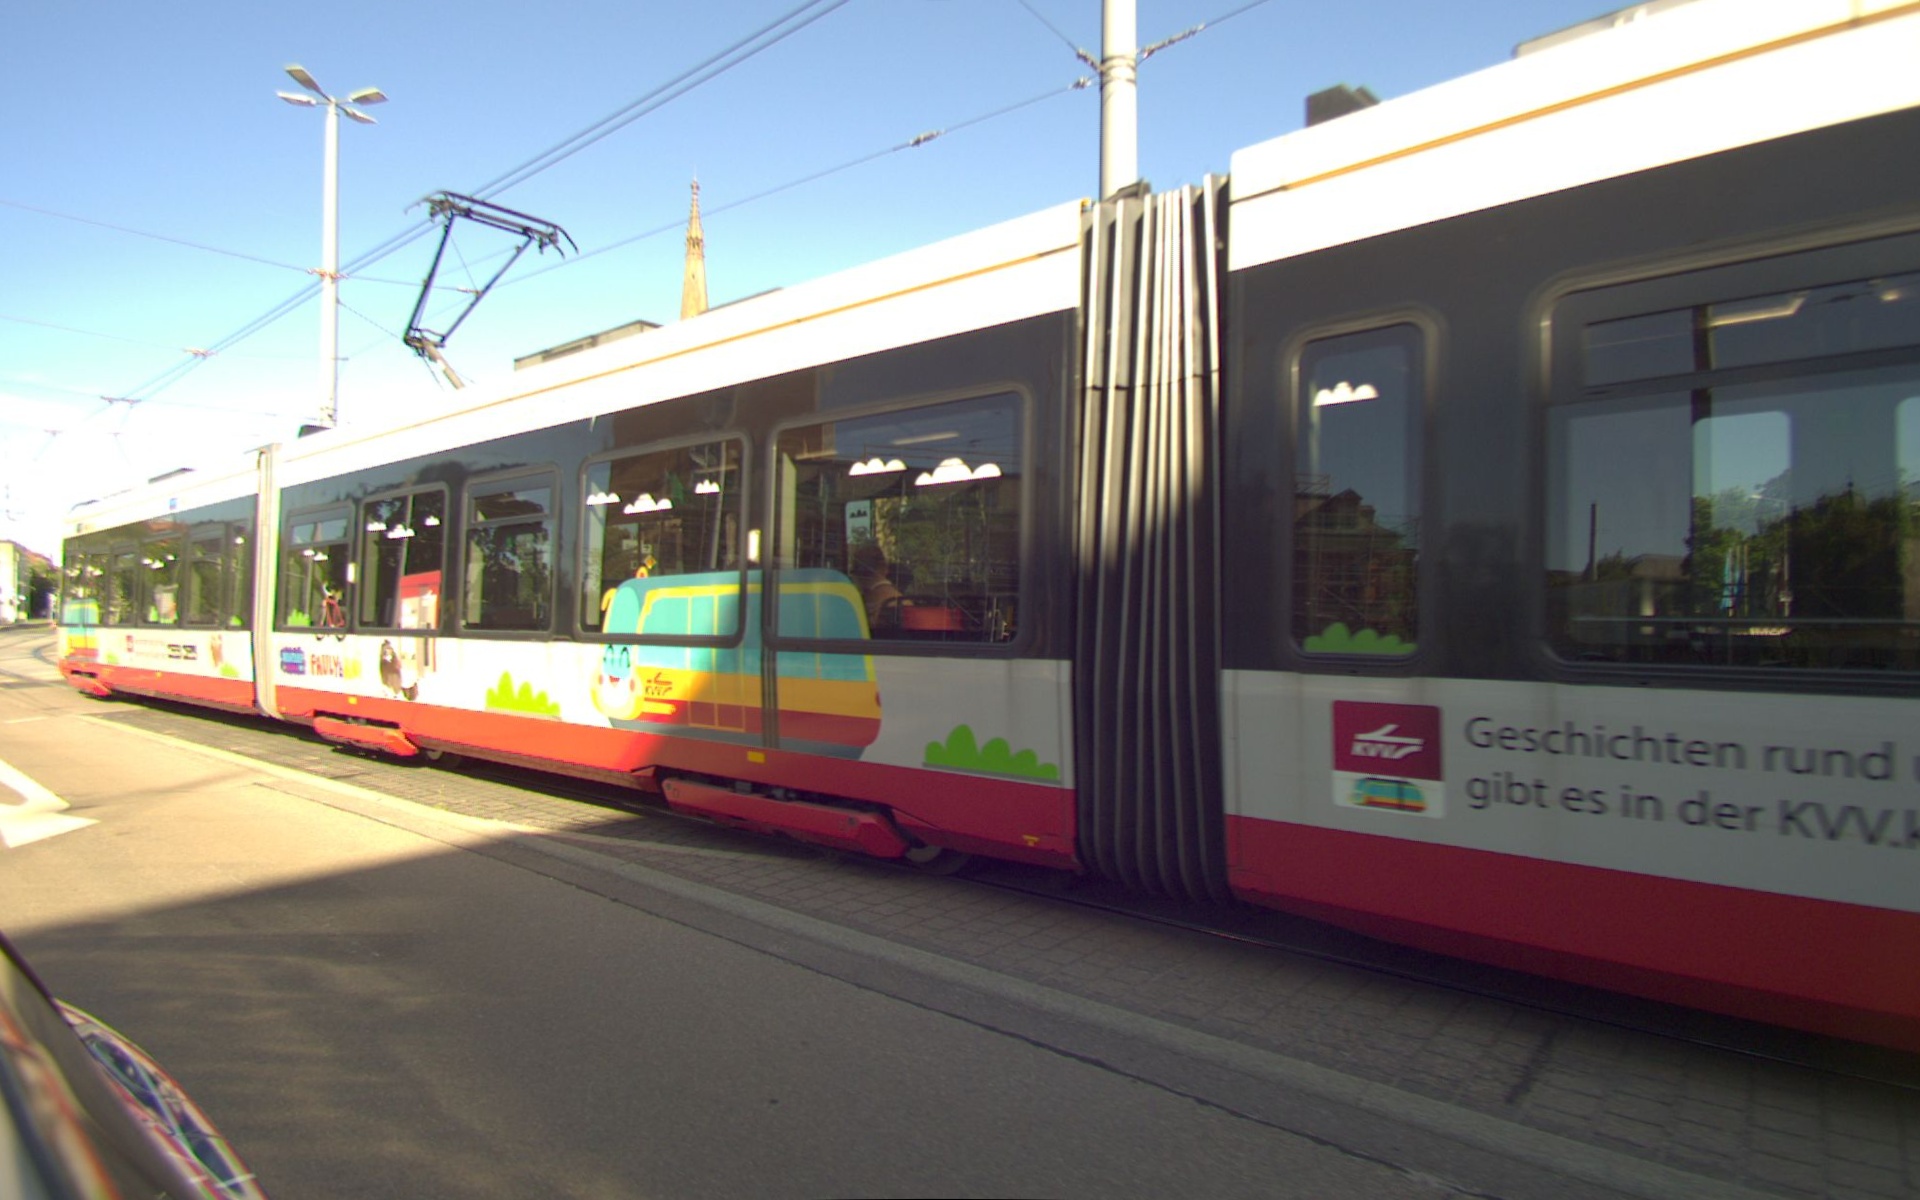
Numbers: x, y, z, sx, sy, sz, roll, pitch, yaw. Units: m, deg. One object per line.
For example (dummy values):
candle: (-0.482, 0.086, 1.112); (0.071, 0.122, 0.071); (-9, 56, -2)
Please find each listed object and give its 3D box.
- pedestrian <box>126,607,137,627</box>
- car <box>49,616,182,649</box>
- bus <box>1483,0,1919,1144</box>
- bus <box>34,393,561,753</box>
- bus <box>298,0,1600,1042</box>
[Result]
pedestrian: (-80.497, 1.638, 98.328); (0.680, 1.875, 0.731); (-2, 1, -35)
car: (-40.507, 1.525, 48.674); (4.520, 1.469, 1.920); (0, 0, -19)
bus: (6.767, -0.507, 0.457); (11.268, 3.617, 2.811); (-1, 0, 42)
bus: (-10.990, -0.211, 15.532); (13.481, 3.617, 2.813); (-1, 0, 39)
bus: (-1.599, -0.353, 7.755); (10.716, 3.617, 2.812); (-1, 0, 40)
